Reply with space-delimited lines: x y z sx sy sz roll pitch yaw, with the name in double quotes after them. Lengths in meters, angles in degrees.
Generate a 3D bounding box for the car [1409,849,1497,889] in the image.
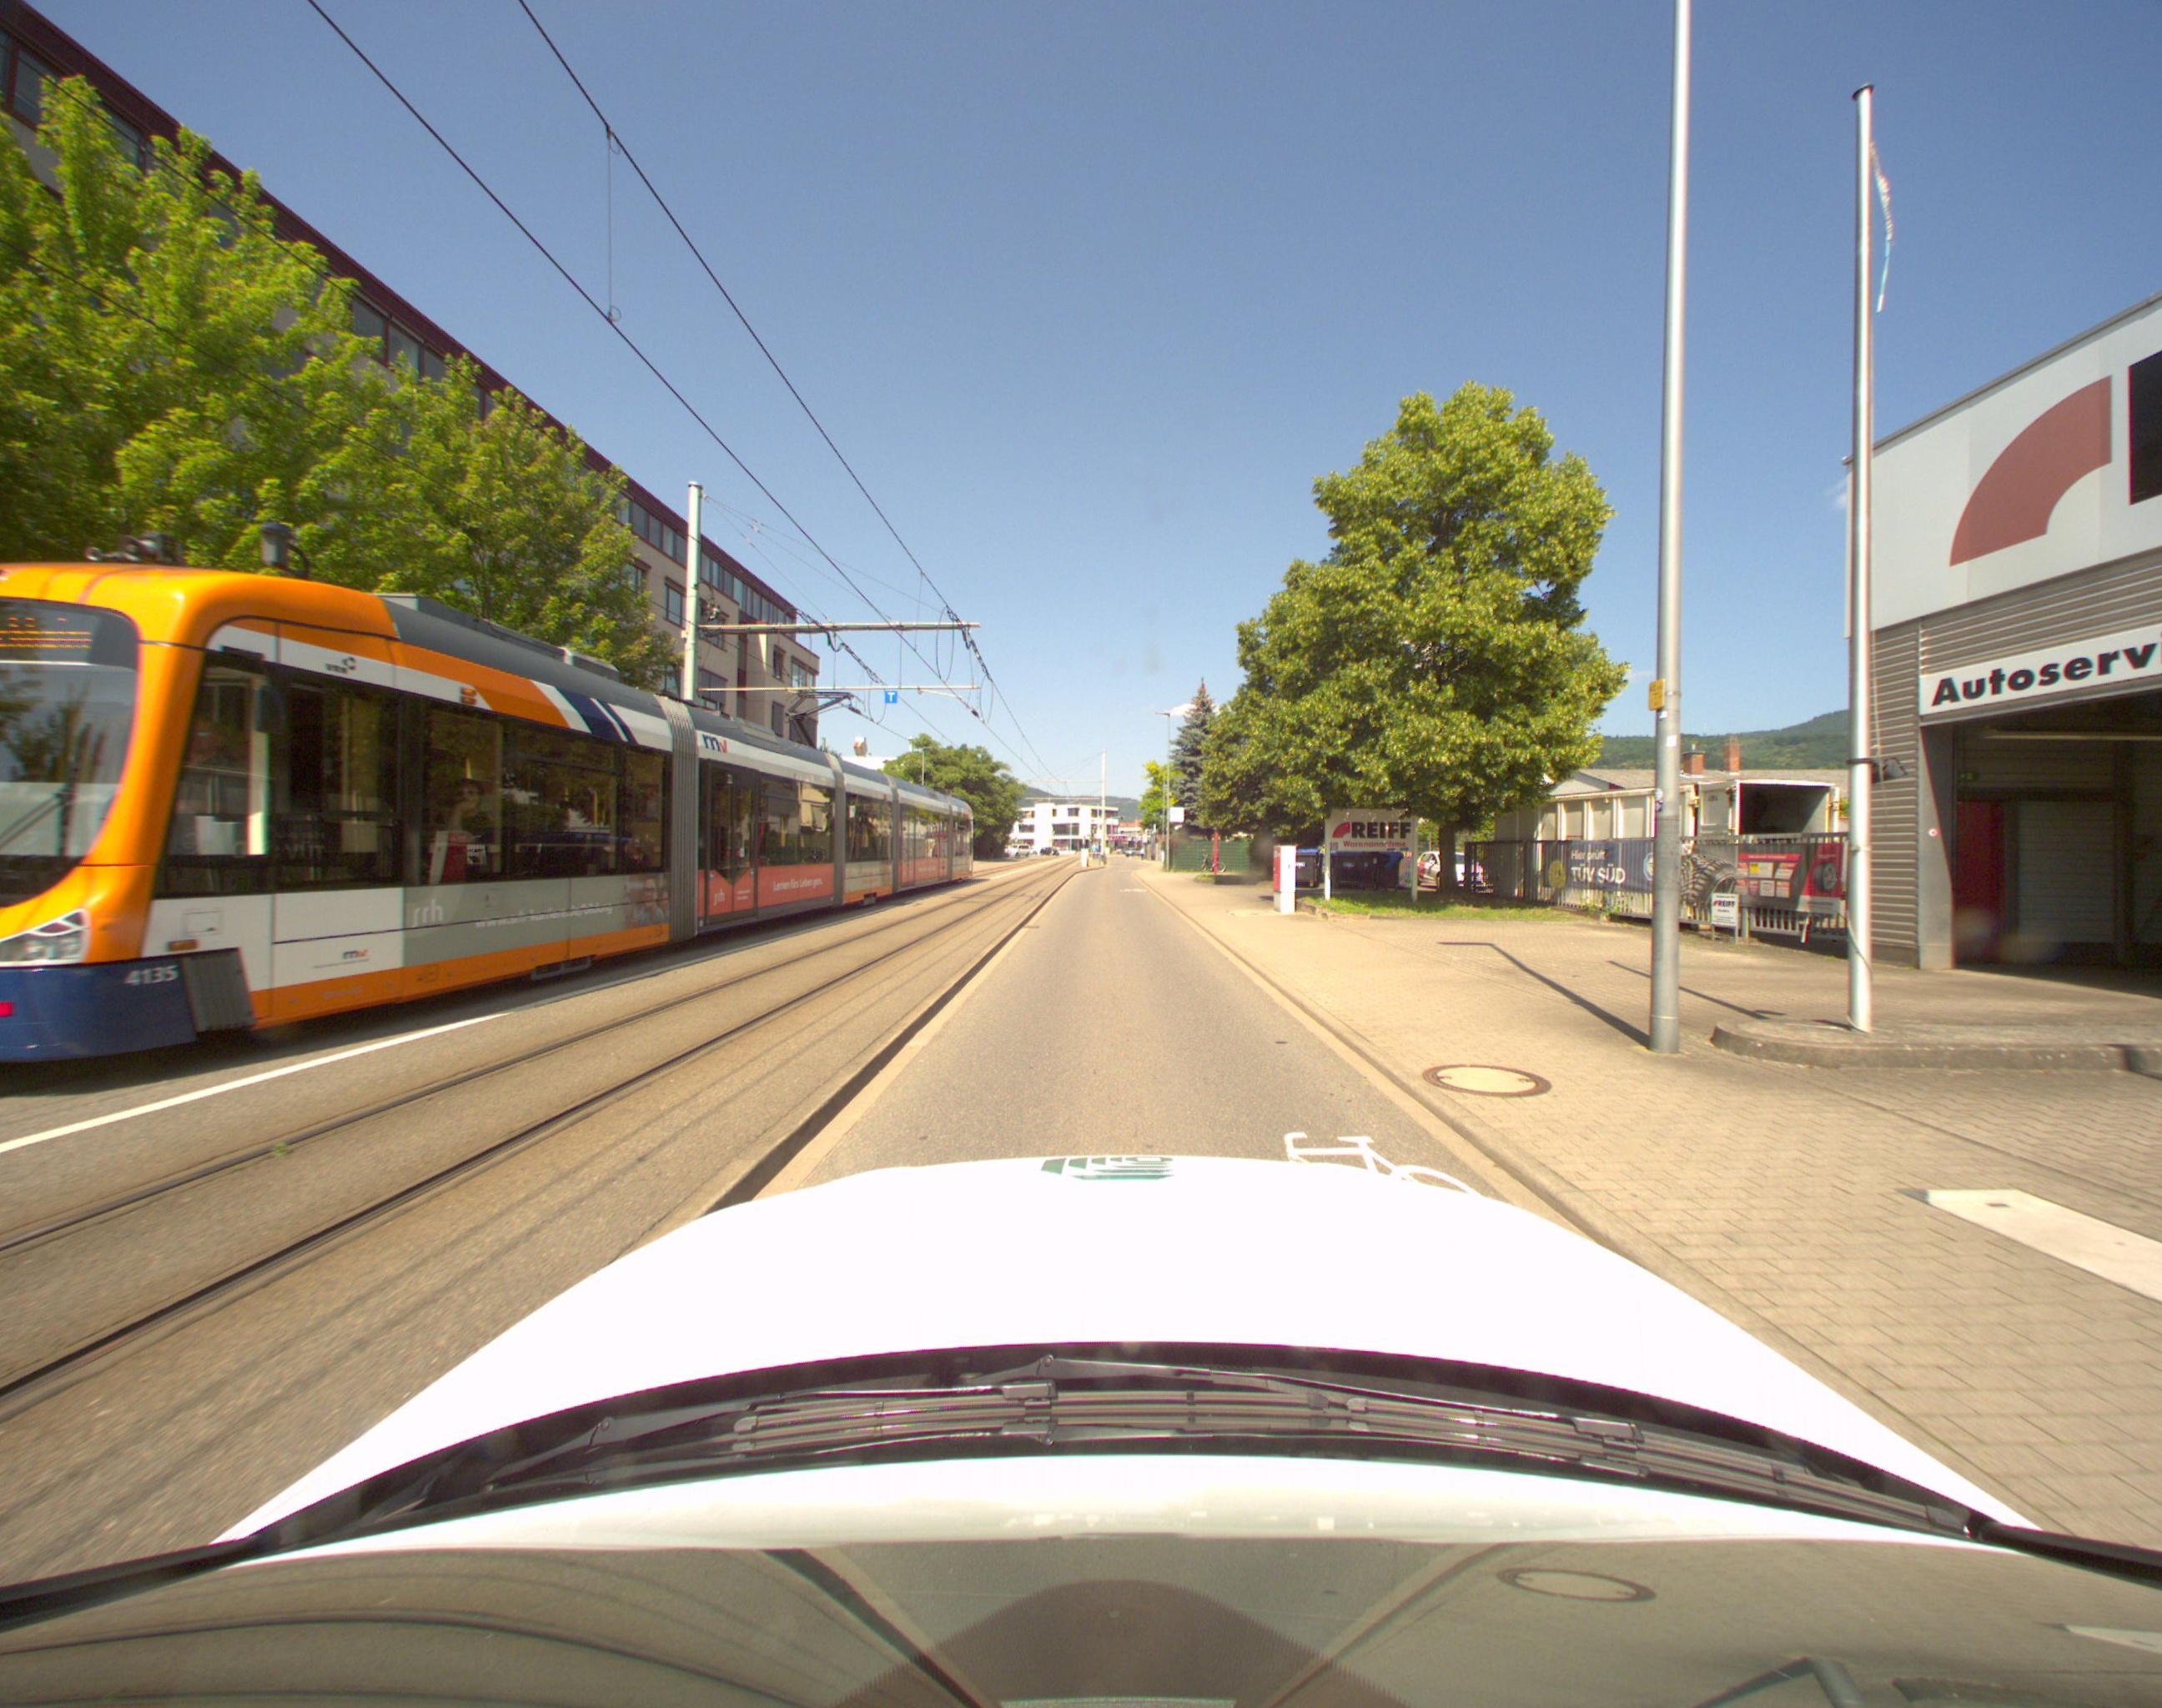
14.444 0.546 31.864 1.736 1.459 4.002 1 0 2 "car"

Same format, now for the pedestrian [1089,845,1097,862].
1.223 -0.083 82.496 0.741 1.740 0.727 0 0 1 "pedestrian"

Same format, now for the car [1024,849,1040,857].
-10.479 -0.285 174.012 1.768 1.647 3.724 0 0 -32 "car"

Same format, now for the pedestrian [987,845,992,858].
-10.645 -0.258 94.764 0.582 1.537 0.657 0 0 1 "pedestrian"

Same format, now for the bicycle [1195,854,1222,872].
7.345 0.515 46.888 1.466 0.990 0.388 0 -3 0 "bicycle"

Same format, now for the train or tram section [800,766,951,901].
-5.843 -0.545 24.449 2.571 3.447 7.138 0 0 1 "train or tram section"

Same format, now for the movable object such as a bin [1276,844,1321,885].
7.787 0.394 29.178 1.371 1.430 0.996 0 -2 26 "movable object such as a bin"

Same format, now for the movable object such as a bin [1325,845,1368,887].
9.345 0.432 28.683 1.304 1.430 0.890 0 -2 26 "movable object such as a bin"

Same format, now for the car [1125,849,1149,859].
10.094 -0.002 146.793 3.993 1.750 1.767 1 0 -14 "car"

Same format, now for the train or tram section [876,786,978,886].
-5.697 -0.625 31.222 2.571 3.447 6.364 0 0 1 "train or tram section"

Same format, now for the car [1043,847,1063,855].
-5.040 -0.583 147.158 3.493 1.333 1.688 4 2 44 "car"

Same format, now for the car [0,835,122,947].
-15.649 0.498 10.479 1.753 1.519 4.002 1 0 2 "car"

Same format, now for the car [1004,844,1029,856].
-10.403 -0.668 131.838 1.842 1.937 4.025 3 2 34 "car"

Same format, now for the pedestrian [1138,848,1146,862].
7.839 0.145 105.420 0.937 1.787 0.953 1 1 0 "pedestrian"

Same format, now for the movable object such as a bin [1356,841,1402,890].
9.840 0.380 26.934 0.975 1.547 1.319 1 -2 -2 "movable object such as a bin"

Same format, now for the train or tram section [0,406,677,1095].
-6.291 -0.551 7.051 2.602 3.533 5.743 0 0 1 "train or tram section"

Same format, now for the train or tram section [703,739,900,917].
-5.990 -0.519 18.357 2.602 3.447 5.011 0 0 1 "train or tram section"

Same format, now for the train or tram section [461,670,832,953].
-6.196 -0.531 12.859 2.602 3.447 5.844 0 0 1 "train or tram section"
